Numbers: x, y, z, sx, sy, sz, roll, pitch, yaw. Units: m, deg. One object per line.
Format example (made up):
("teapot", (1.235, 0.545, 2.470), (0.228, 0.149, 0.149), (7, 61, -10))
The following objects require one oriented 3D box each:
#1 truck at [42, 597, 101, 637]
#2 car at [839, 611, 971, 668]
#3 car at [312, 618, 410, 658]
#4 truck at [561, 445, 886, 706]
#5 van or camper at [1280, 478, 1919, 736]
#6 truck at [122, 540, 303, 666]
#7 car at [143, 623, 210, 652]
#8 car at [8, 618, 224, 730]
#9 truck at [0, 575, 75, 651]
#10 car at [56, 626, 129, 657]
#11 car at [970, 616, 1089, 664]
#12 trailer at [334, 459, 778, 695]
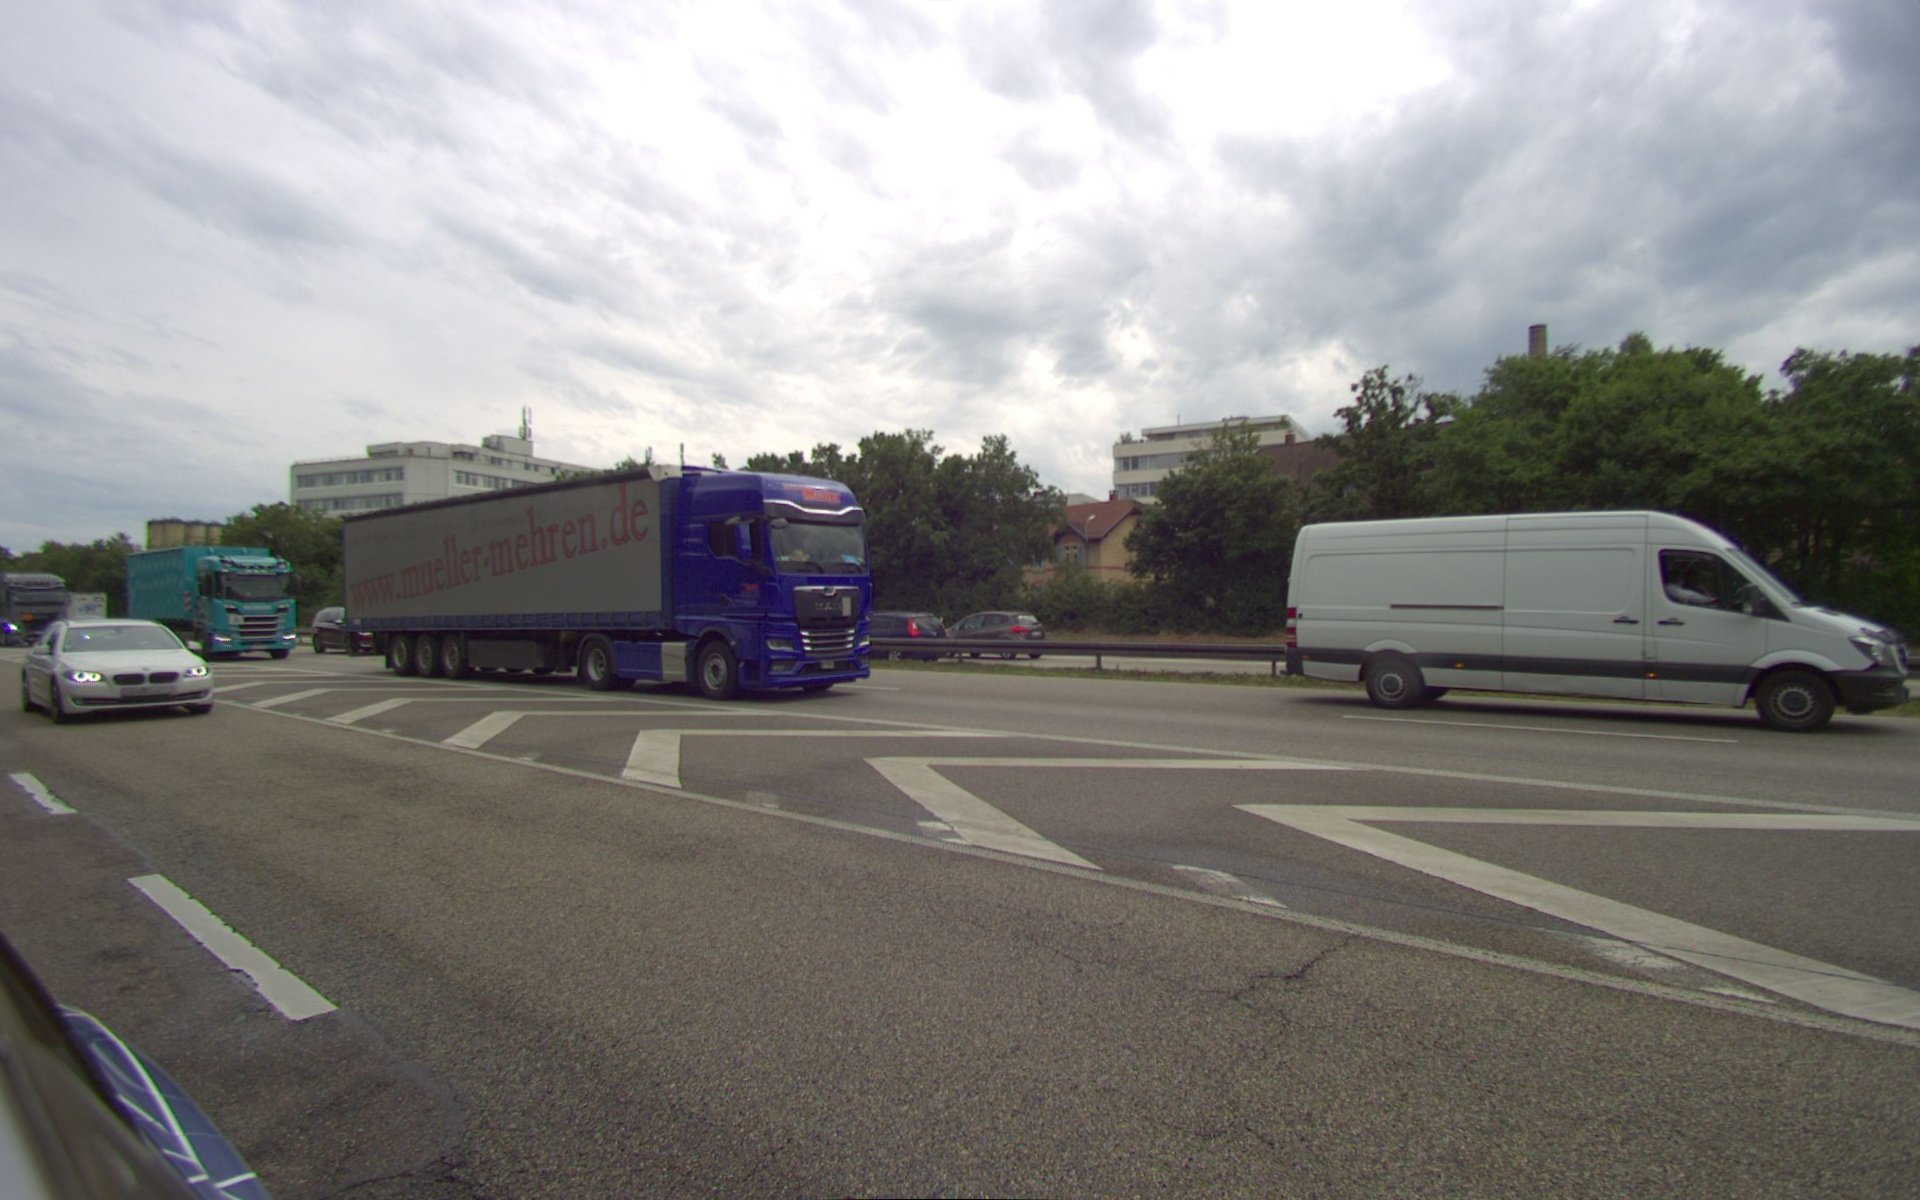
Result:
("truck", (-84.840, 1.650, 96.628), (7.518, 3.790, 1.979), (-1, -2, 31))
("car", (-1.690, 1.155, 30.512), (3.742, 1.598, 1.779), (-1, -1, 38))
("car", (-22.824, 1.423, 38.505), (3.994, 1.444, 1.875), (-1, -2, 38))
("truck", (-4.416, -0.324, 18.340), (5.919, 3.991, 2.643), (-1, -1, 38))
("van or camper", (7.980, 0.140, 13.323), (6.951, 2.641, 2.028), (-1, -2, 40))
("truck", (-27.116, 0.185, 36.479), (10.111, 4.031, 2.667), (-1, -1, 38))
("car", (-41.546, 1.972, 53.654), (4.049, 1.444, 1.875), (-1, -2, 38))
("car", (-13.417, 1.056, 15.974), (4.881, 1.475, 1.840), (-1, -1, 41))
("truck", (-54.179, 0.805, 57.542), (13.123, 3.955, 3.288), (-1, -1, 37))
("car", (-39.503, 1.846, 46.060), (3.994, 1.332, 1.736), (-1, -1, 38))
("car", (2.240, 1.280, 33.181), (3.624, 1.493, 1.598), (-1, -1, 38))
("trailer", (-9.730, -0.268, 22.545), (13.901, 4.005, 2.647), (-1, -1, 38))
